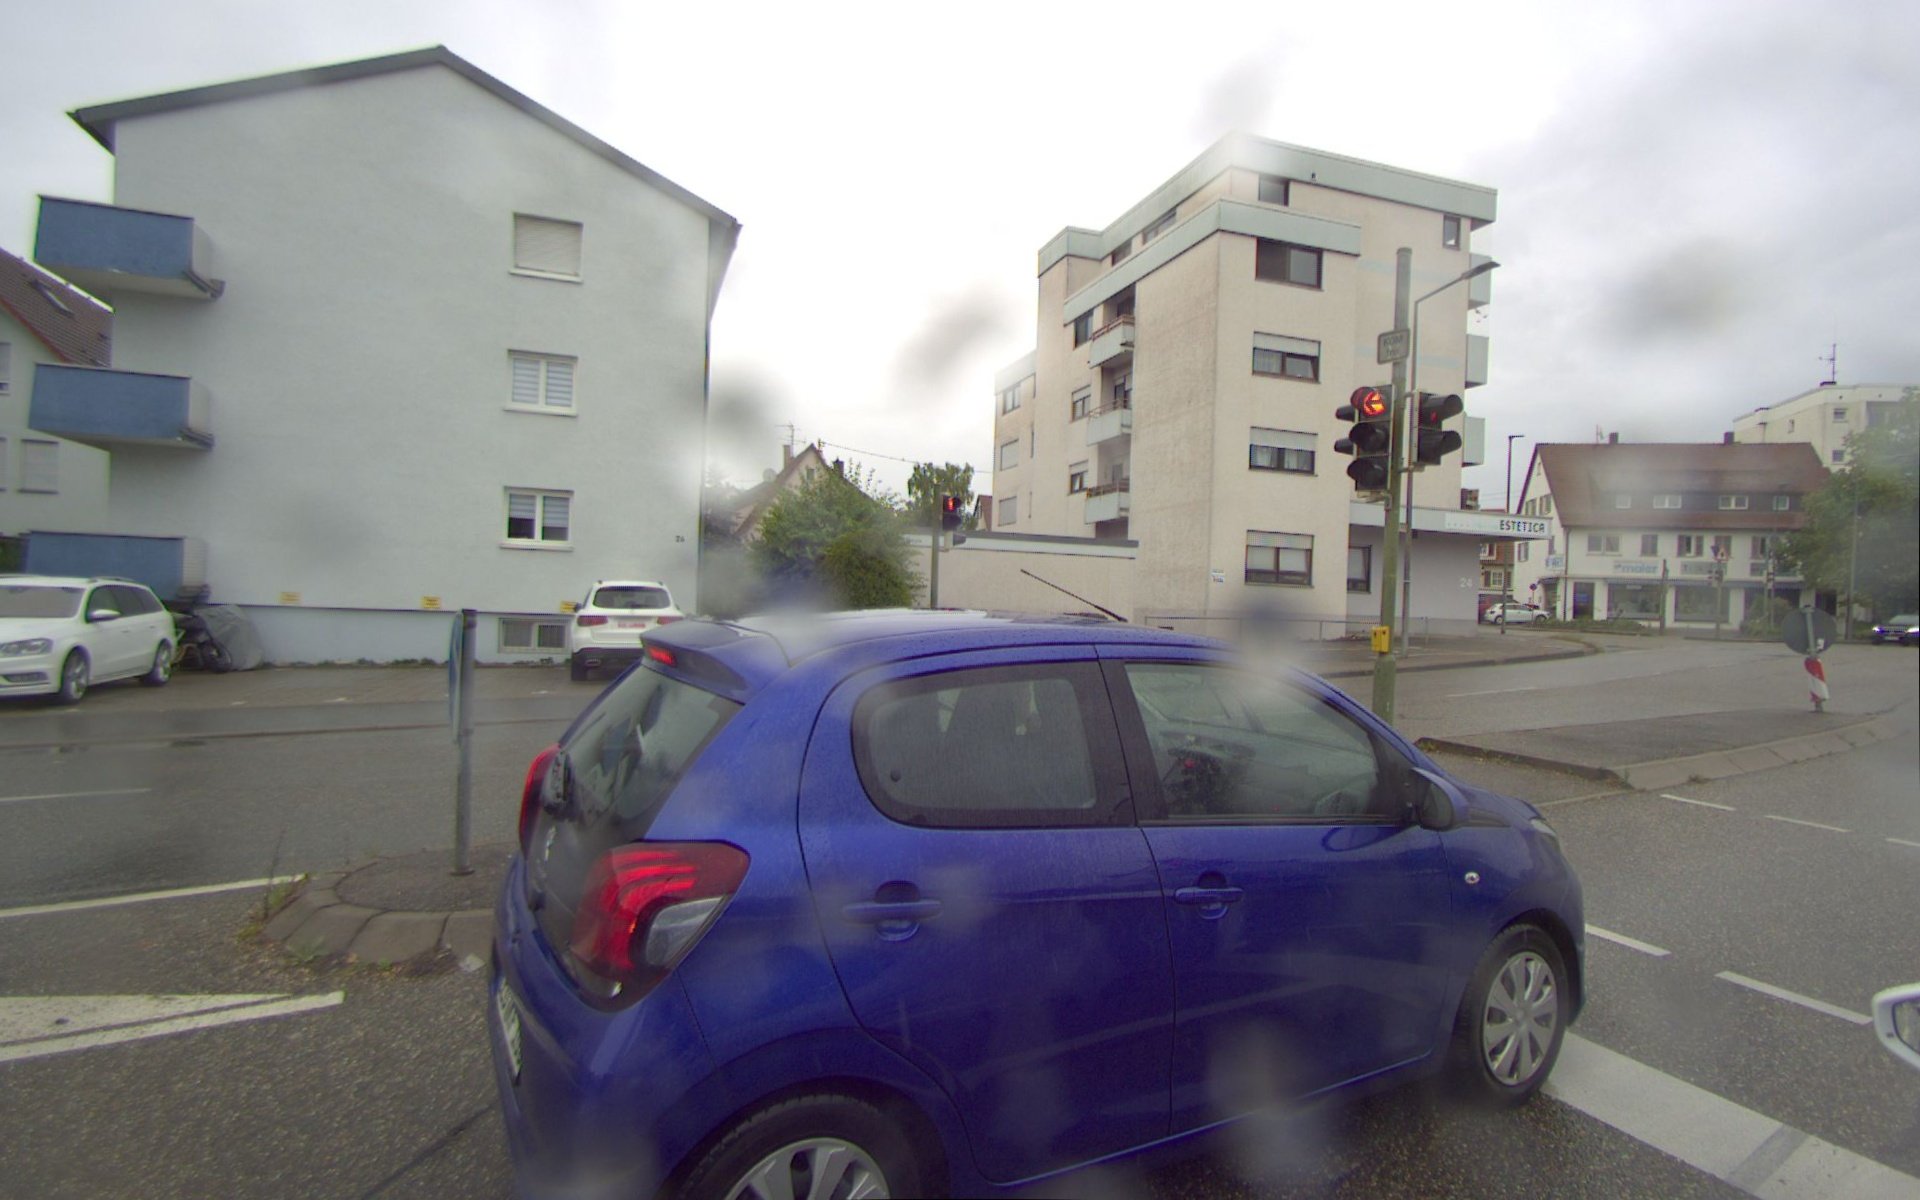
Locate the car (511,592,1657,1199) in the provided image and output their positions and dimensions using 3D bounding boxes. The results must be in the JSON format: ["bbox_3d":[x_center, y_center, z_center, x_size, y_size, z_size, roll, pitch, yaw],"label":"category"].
[{"bbox_3d":[0.447,0.730,3.117,3.231,1.429,1.571,1,1,-30],"label":"car"}]

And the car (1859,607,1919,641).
[{"bbox_3d":[42.335,1.058,45.157,3.785,1.439,1.770,1,0,-30],"label":"car"}]

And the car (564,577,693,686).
[{"bbox_3d":[-5.894,0.496,17.831,1.909,1.658,4.446,1,0,-19],"label":"car"}]

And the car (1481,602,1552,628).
[{"bbox_3d":[38.084,1.013,68.807,3.887,1.593,1.873,1,1,17],"label":"car"}]

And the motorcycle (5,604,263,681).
[{"bbox_3d":[-13.111,0.634,16.081,0.864,1.115,3.113,2,1,43],"label":"motorcycle"}]

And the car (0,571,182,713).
[{"bbox_3d":[-11.360,0.439,12.308,1.878,1.493,4.209,1,0,-24],"label":"car"}]
